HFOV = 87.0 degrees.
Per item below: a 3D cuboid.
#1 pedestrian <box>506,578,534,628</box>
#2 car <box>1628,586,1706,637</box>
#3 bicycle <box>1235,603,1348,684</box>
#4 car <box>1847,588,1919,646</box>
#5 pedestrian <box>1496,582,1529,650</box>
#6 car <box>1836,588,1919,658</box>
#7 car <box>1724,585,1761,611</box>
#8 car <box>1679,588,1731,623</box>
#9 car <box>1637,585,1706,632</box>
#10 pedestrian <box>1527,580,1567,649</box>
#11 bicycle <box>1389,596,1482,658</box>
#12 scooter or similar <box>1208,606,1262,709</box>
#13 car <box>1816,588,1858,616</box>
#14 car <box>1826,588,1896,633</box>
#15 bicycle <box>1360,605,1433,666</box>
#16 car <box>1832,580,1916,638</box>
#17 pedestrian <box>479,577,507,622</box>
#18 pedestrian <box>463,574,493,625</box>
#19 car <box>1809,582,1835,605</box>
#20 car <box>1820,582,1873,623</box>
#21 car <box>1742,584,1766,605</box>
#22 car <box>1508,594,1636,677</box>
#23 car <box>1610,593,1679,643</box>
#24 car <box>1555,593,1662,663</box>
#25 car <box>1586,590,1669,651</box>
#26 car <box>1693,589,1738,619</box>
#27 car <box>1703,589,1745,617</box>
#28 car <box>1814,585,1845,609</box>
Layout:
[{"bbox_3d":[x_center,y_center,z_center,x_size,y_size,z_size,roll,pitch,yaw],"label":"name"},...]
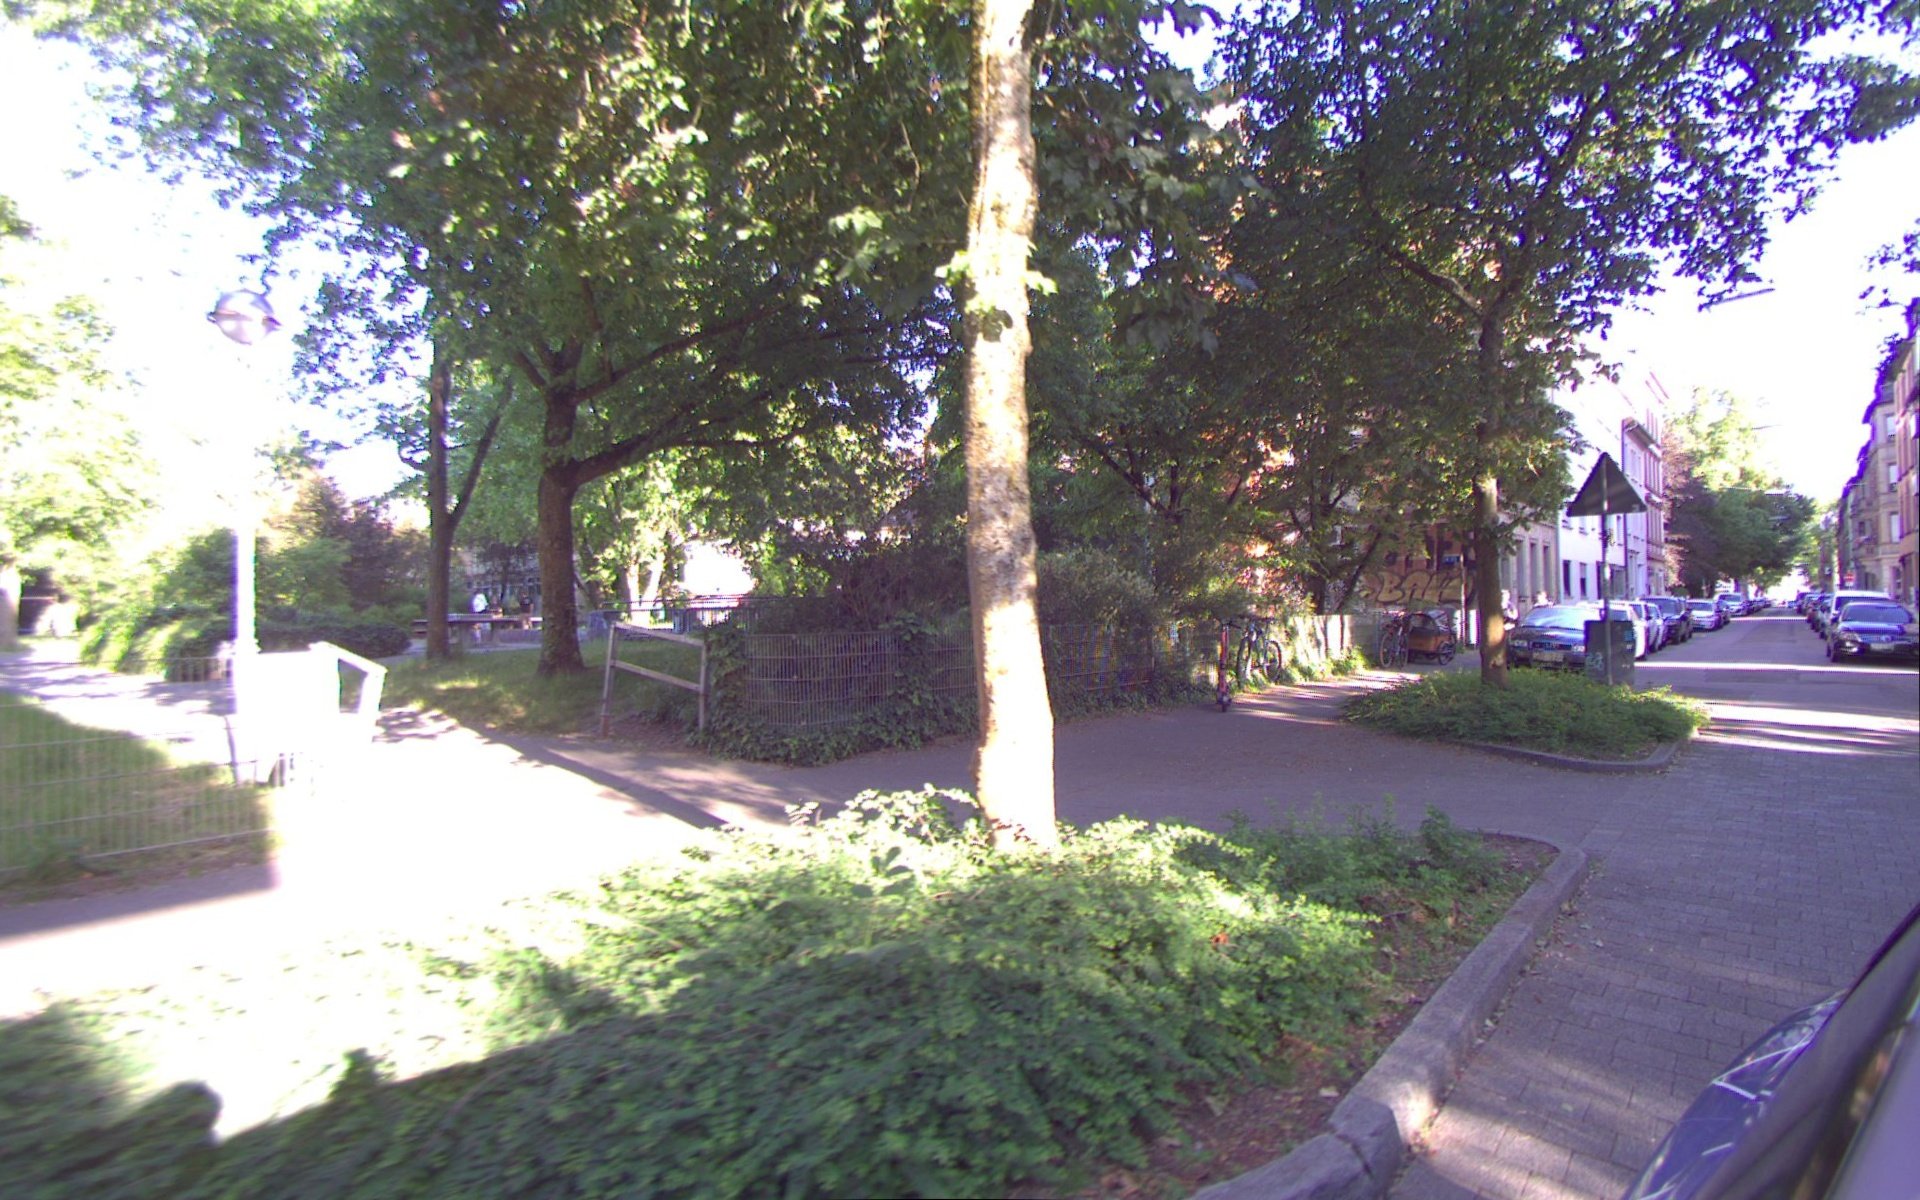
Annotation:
[{"bbox_3d":[-18.415,0.116,42.372,0.894,2.039,0.750,0,0,-3],"label":"pedestrian"},{"bbox_3d":[24.979,0.376,35.703,1.764,1.688,4.263,0,0,42],"label":"car"},{"bbox_3d":[5.692,0.690,17.252,0.846,1.284,2.651,-1,-1,42],"label":"bicycle"},{"bbox_3d":[25.995,0.430,28.415,1.593,1.468,3.433,2,2,42],"label":"car"},{"bbox_3d":[14.566,0.413,26.689,0.596,1.730,0.696,3,2,40],"label":"pedestrian"},{"bbox_3d":[21.908,0.474,23.840,1.777,1.461,4.329,2,2,40],"label":"car"},{"bbox_3d":[62.321,-0.202,80.605,1.862,2.006,4.410,2,2,43],"label":"car"},{"bbox_3d":[36.023,0.218,48.871,1.762,1.536,4.044,2,2,40],"label":"car"},{"bbox_3d":[28.018,0.286,39.804,1.879,1.687,4.266,2,2,40],"label":"car"},{"bbox_3d":[15.202,0.349,26.202,0.709,1.730,0.741,3,2,40],"label":"pedestrian"},{"bbox_3d":[10.963,0.587,23.296,1.290,1.318,2.291,2,1,43],"label":"bicycle"},{"bbox_3d":[3.698,0.736,13.664,0.537,1.277,1.469,0,1,9],"label":"scooter or similar"},{"bbox_3d":[52.188,0.095,60.267,1.762,1.552,4.044,2,2,40],"label":"car"},{"bbox_3d":[33.592,0.353,37.686,4.018,1.546,1.672,-1,2,-45],"label":"car"},{"bbox_3d":[9.224,0.712,21.356,0.846,1.216,1.951,-1,-1,42],"label":"bicycle"},{"bbox_3d":[30.530,0.247,33.904,1.747,1.762,4.255,2,2,39],"label":"car"},{"bbox_3d":[-20.952,-0.024,45.419,0.894,2.039,0.750,0,0,-3],"label":"pedestrian"},{"bbox_3d":[-19.443,-0.031,40.839,0.894,2.039,0.750,0,0,-3],"label":"pedestrian"},{"bbox_3d":[83.426,-0.661,97.984,1.762,2.112,4.202,2,2,40],"label":"car"},{"bbox_3d":[42.632,0.081,48.709,1.762,1.847,4.044,2,2,40],"label":"car"},{"bbox_3d":[78.259,-0.580,99.725,1.762,2.042,4.202,2,2,40],"label":"car"},{"bbox_3d":[12.804,0.638,21.051,1.718,1.512,4.352,1,1,39],"label":"car"},{"bbox_3d":[21.816,0.523,32.203,1.590,1.469,3.948,1,1,38],"label":"car"},{"bbox_3d":[15.907,0.612,24.716,1.657,1.512,4.290,1,1,40],"label":"car"},{"bbox_3d":[19.086,0.526,28.885,1.591,1.605,3.709,1,1,40],"label":"car"},{"bbox_3d":[41.843,0.186,56.020,1.762,1.552,4.044,1,2,40],"label":"car"},{"bbox_3d":[45.190,0.143,59.835,1.762,1.552,4.044,2,2,40],"label":"car"},{"bbox_3d":[70.490,-0.251,82.103,1.762,1.879,3.936,2,2,40],"label":"car"}]
